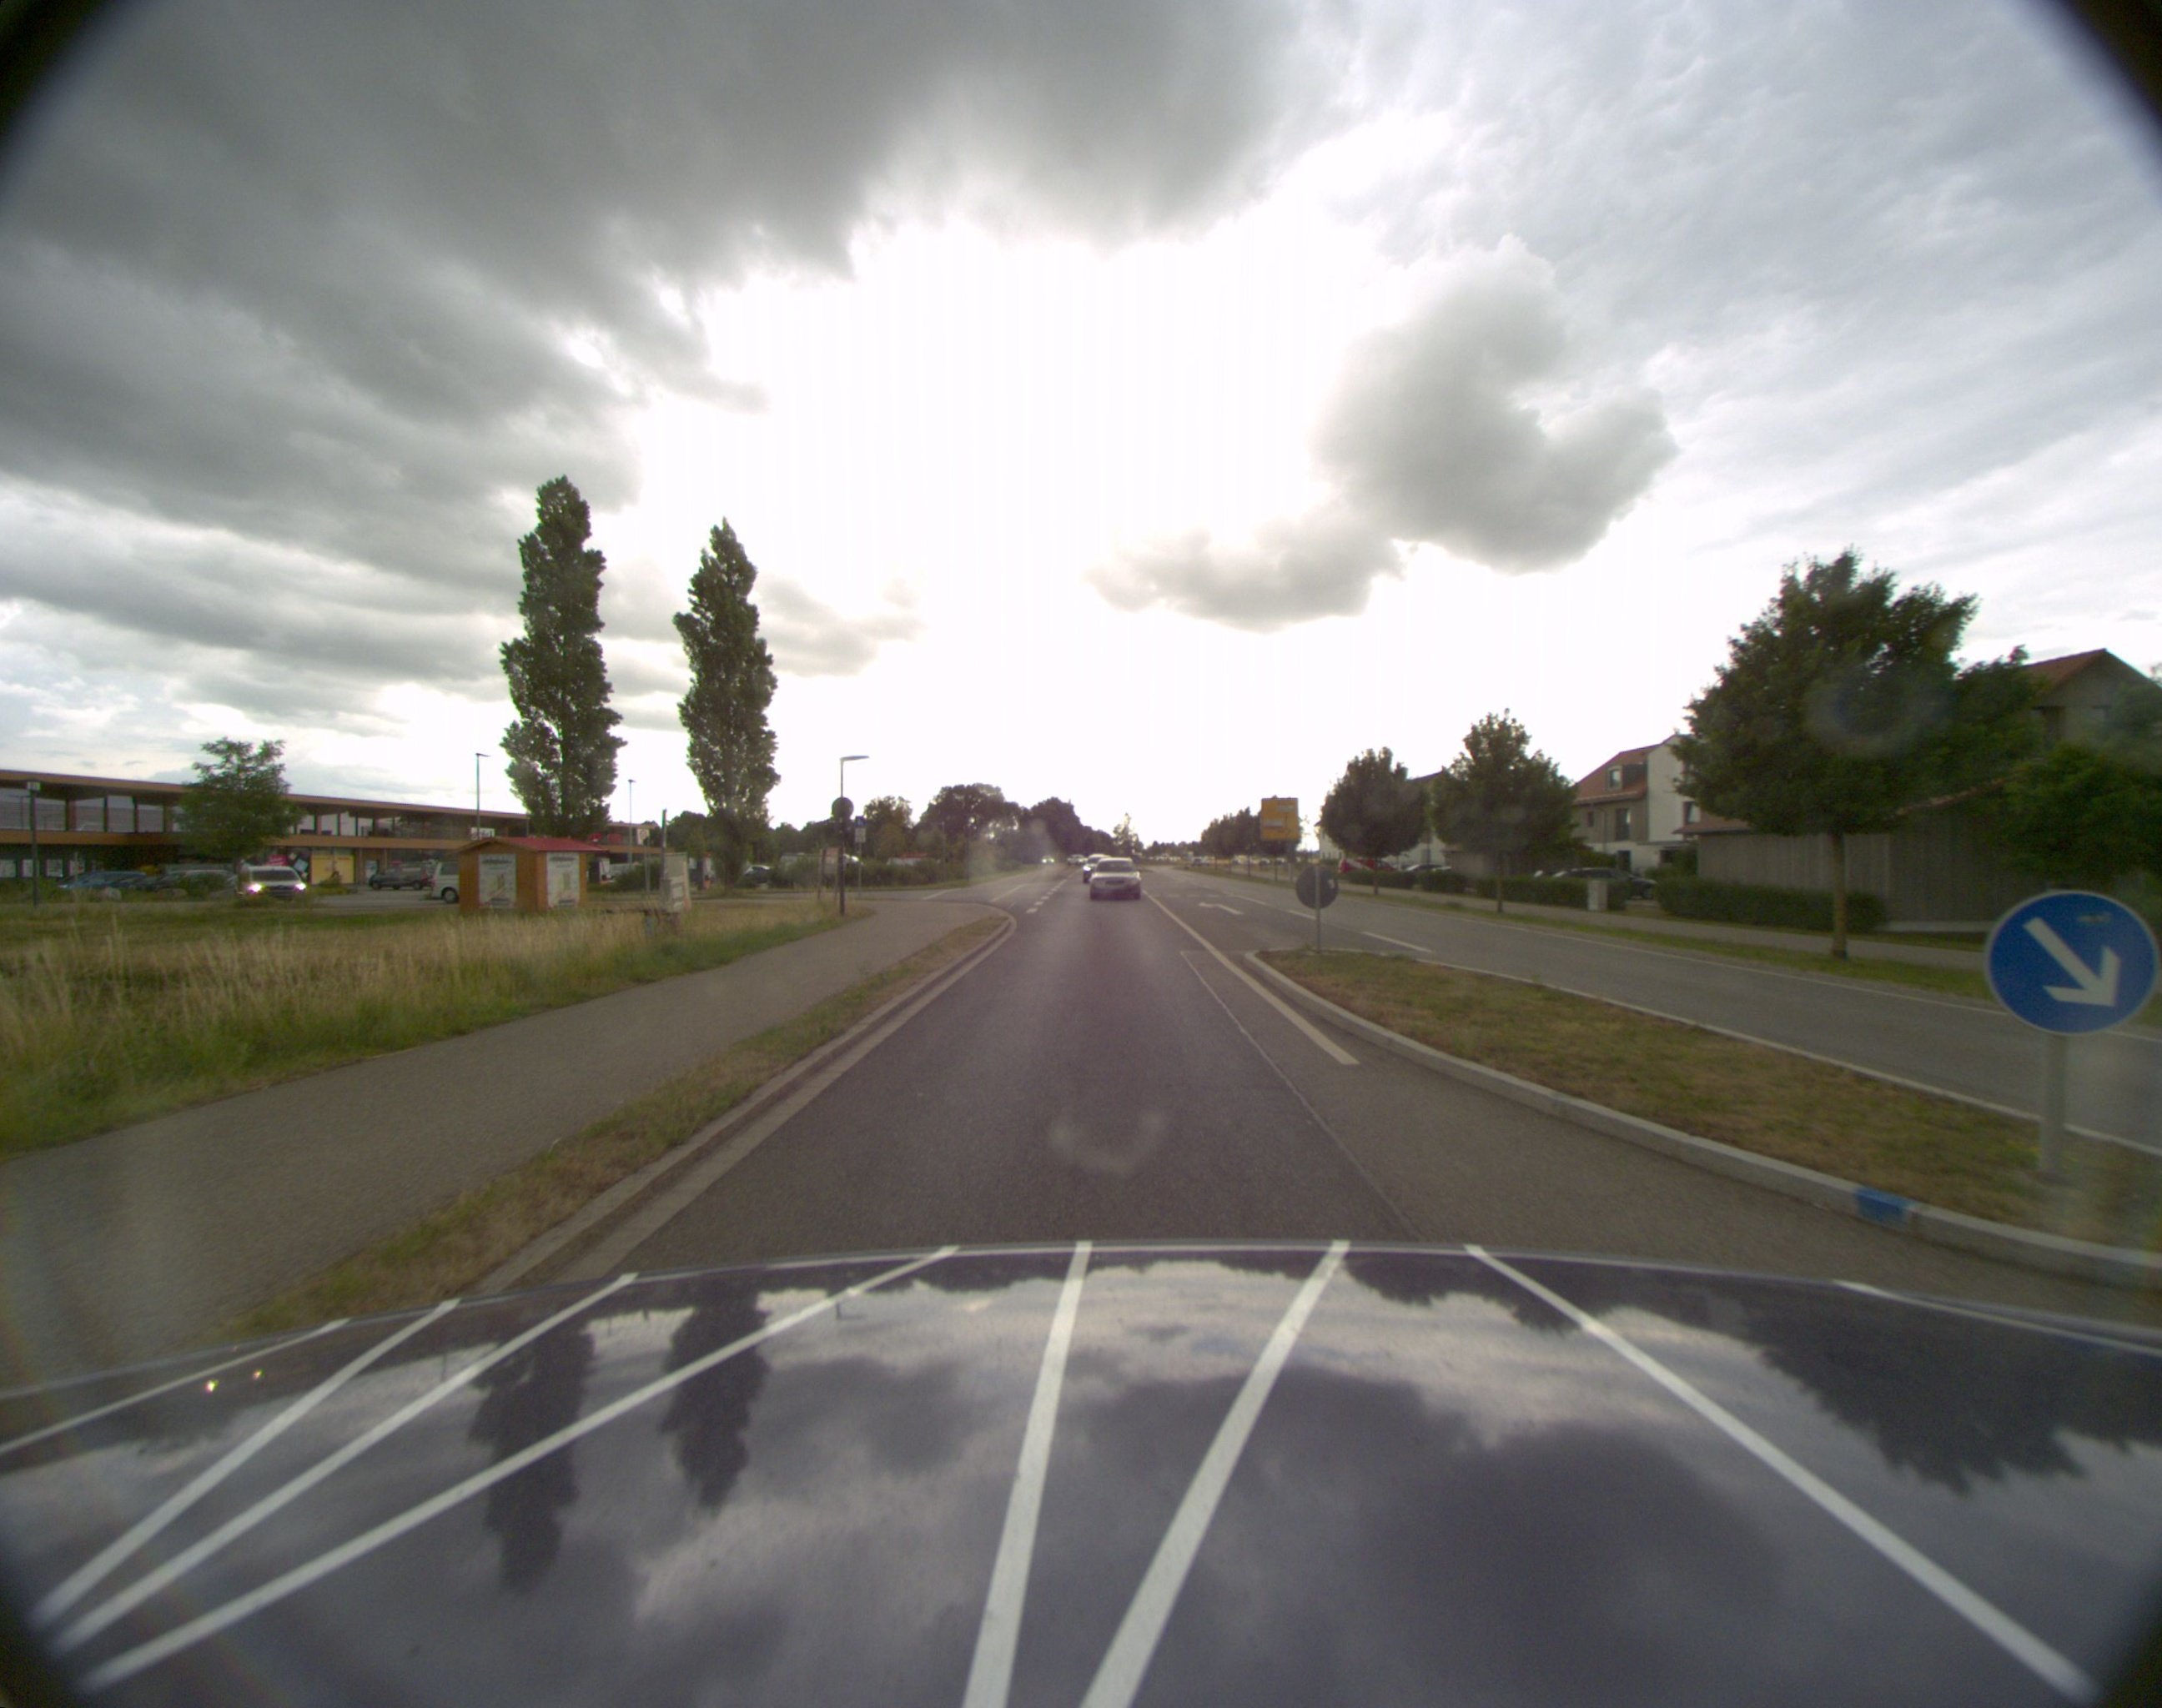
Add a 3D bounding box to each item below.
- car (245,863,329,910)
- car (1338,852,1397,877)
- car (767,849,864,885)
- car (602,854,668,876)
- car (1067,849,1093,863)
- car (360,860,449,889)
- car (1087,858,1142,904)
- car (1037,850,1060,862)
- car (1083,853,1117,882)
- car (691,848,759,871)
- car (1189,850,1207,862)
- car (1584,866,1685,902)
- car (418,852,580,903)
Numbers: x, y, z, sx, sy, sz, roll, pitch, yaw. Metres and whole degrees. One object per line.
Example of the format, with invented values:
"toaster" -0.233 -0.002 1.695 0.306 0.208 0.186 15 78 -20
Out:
"car" -38.187 1.518 36.685 2.003 2.002 5.303 -3 1 -39
"car" 25.538 0.915 67.839 4.568 2.002 2.001 -2 1 6
"car" -17.051 0.811 49.007 5.527 2.002 1.999 -2 1 -5
"car" -45.978 1.113 78.404 5.527 2.002 1.999 -2 1 -5
"car" -0.181 0.260 116.221 2.003 2.002 3.990 -3 1 -34
"car" -53.080 1.576 59.711 4.857 2.002 1.999 -2 1 -6
"car" 1.242 0.907 27.777 1.762 1.410 4.520 -2 1 3
"car" -5.481 0.344 126.960 1.795 2.002 4.455 -3 1 -33
"car" 1.066 0.723 43.210 1.763 1.495 4.691 -2 1 1
"car" -34.088 0.523 72.864 5.527 2.002 1.999 -2 1 -5
"car" 19.071 0.242 123.550 1.996 1.772 4.005 -2 1 20
"car" 25.012 1.345 34.413 3.592 1.431 1.301 -2 1 1
"car" -26.171 1.030 34.315 5.313 2.002 2.562 -2 1 2
